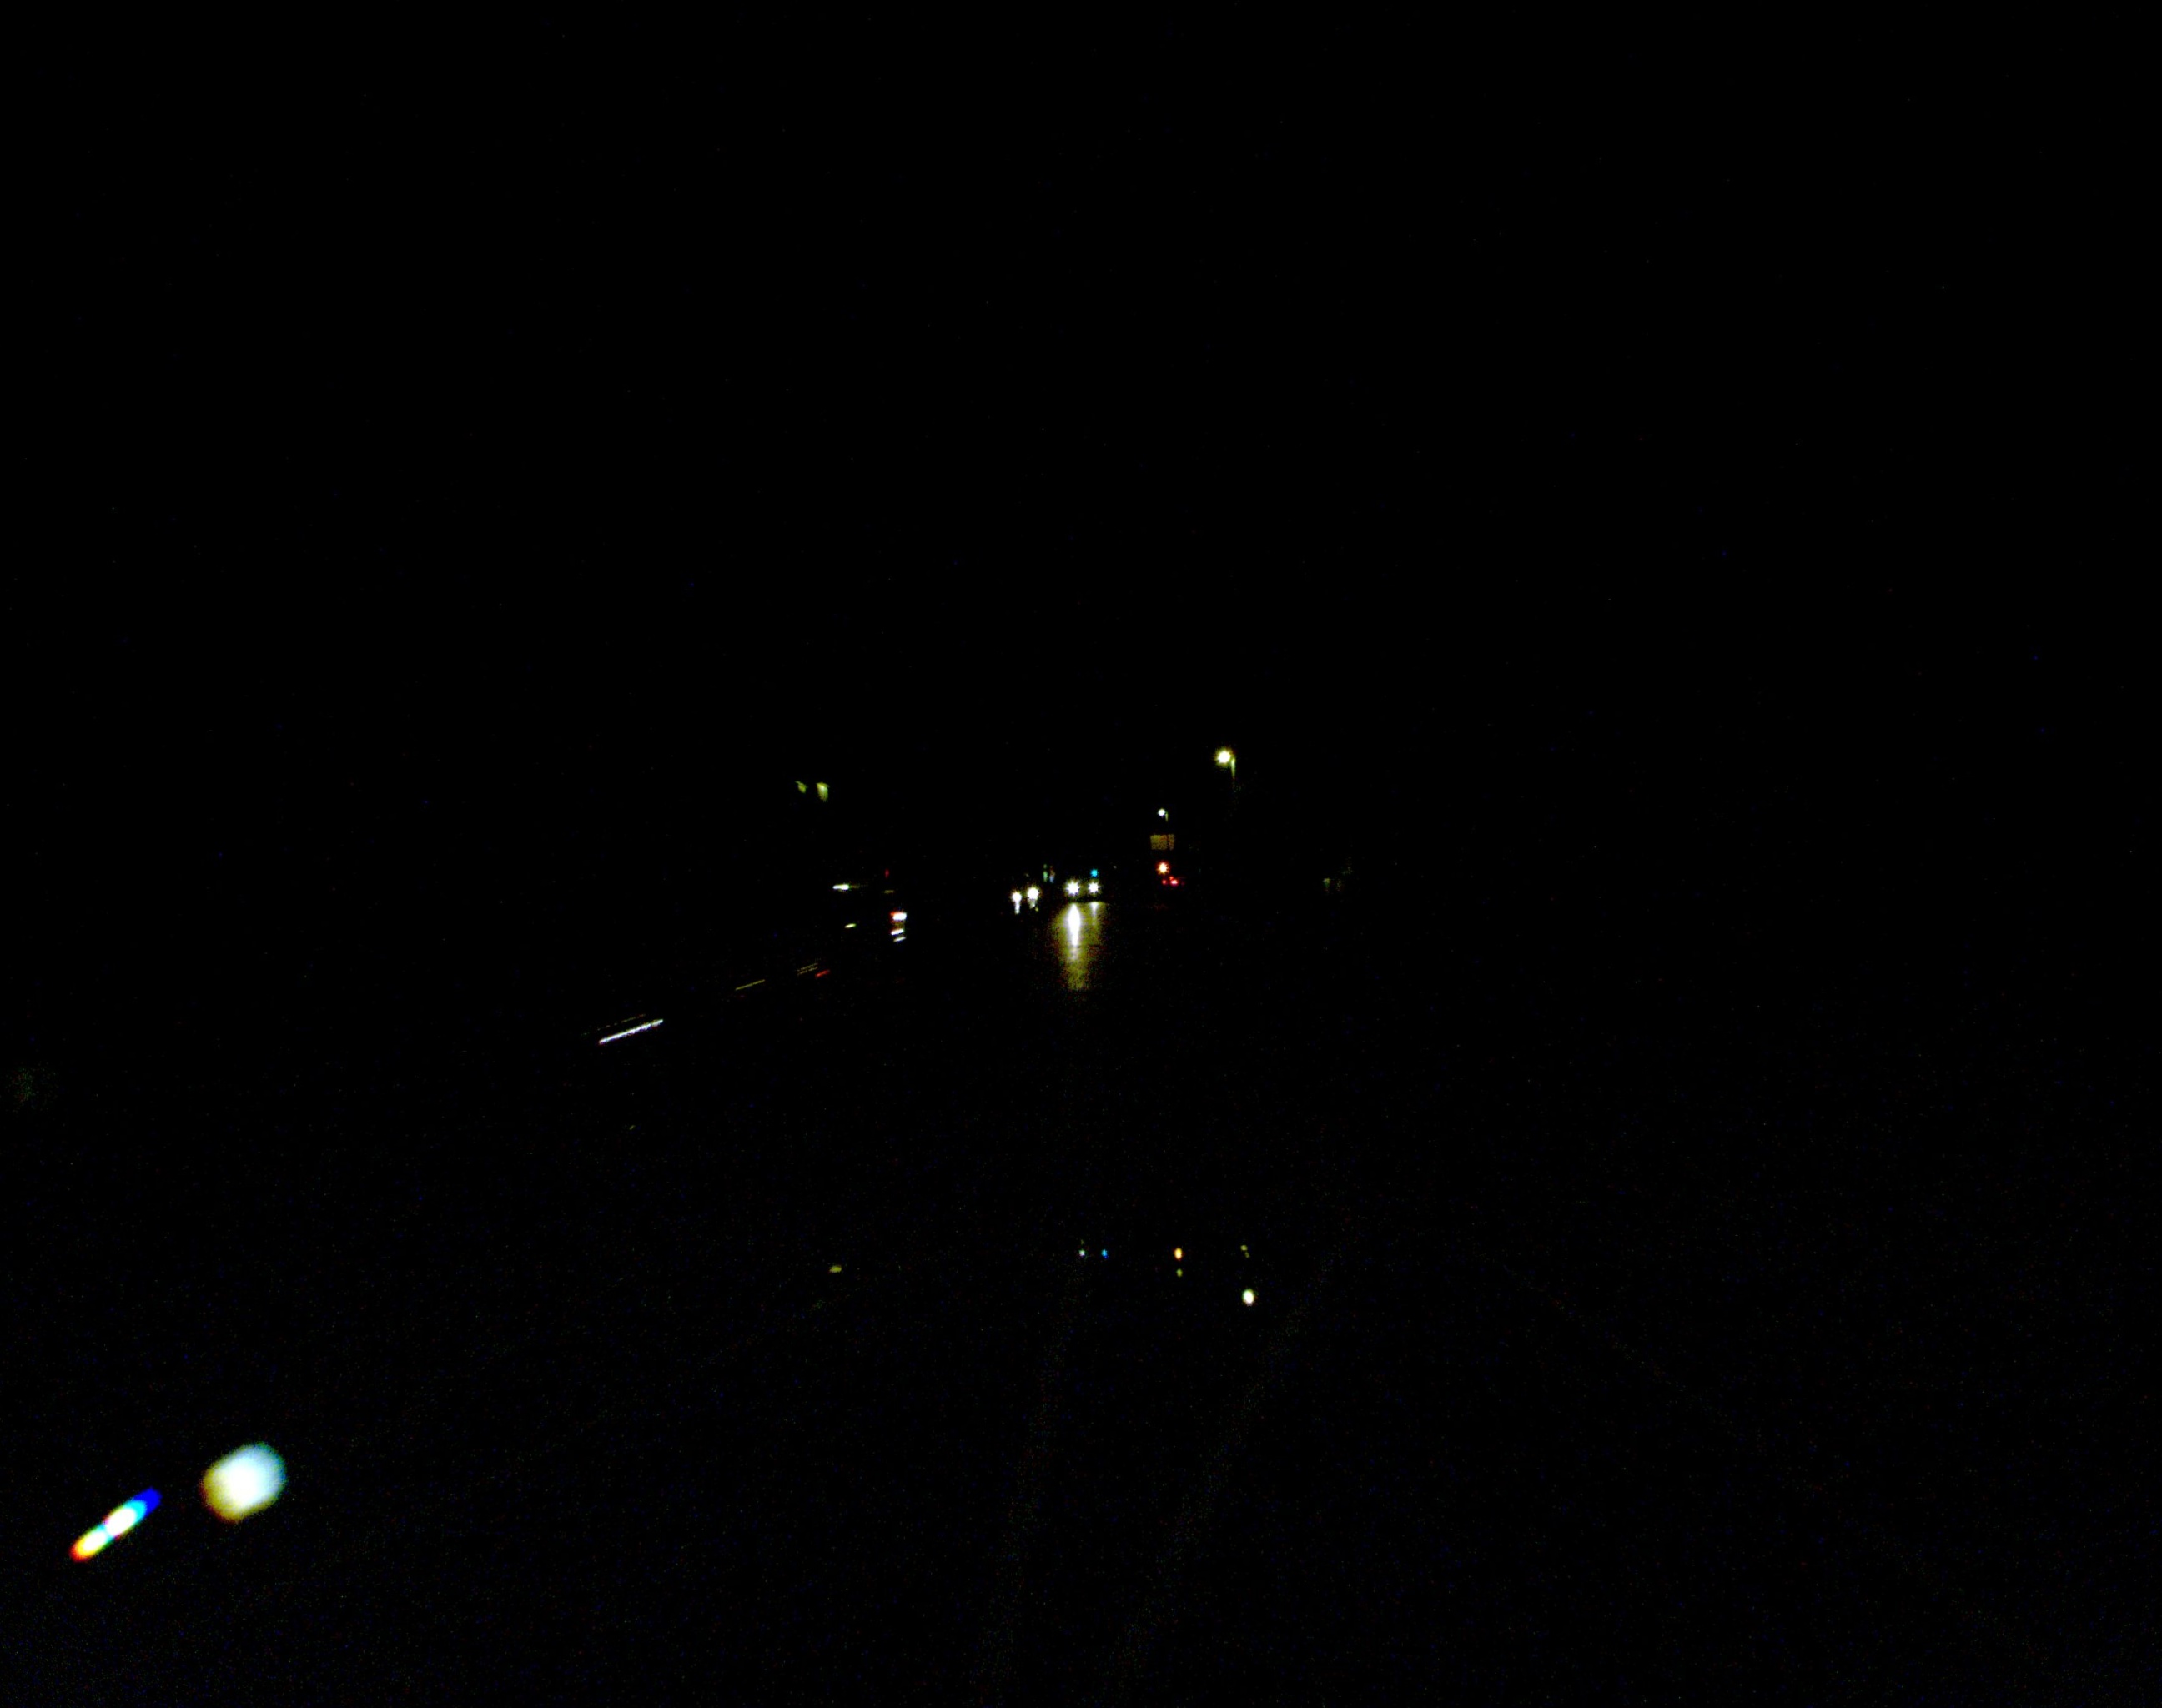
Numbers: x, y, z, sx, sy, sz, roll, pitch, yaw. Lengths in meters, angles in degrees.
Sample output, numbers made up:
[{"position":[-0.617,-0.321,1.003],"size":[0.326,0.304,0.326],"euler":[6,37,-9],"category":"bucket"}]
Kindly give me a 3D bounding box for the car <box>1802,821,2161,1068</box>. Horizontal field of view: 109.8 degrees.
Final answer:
[{"position":[8.841,0.542,5.927],"size":[4.427,1.604,2.065],"euler":[-1,1,2],"category":"car"}]

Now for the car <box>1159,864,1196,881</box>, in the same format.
[{"position":[9.935,1.866,77.864],"size":[1.727,1.421,4.298],"euler":[-3,0,38],"category":"car"}]

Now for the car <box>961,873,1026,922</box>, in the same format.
[{"position":[-2.742,1.367,24.577],"size":[1.613,1.452,3.718],"euler":[1,-2,1],"category":"car"}]

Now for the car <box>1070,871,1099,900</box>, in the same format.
[{"position":[0.162,1.664,41.023],"size":[1.513,1.492,3.050],"euler":[-1,-2,-1],"category":"car"}]

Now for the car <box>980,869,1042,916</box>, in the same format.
[{"position":[-2.587,1.405,29.085],"size":[1.759,1.584,4.729],"euler":[-2,-1,2],"category":"car"}]

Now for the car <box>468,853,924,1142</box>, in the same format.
[{"position":[-2.917,0.929,7.155],"size":[1.723,1.750,4.759],"euler":[-2,-1,1],"category":"car"}]

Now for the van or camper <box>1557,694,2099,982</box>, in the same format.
[{"position":[9.339,-0.286,9.759],"size":[5.416,3.094,2.130],"euler":[-2,3,-9],"category":"van or camper"}]

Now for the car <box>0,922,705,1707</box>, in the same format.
[{"position":[-2.872,1.120,1.810],"size":[1.748,1.462,4.256],"euler":[-3,0,0],"category":"car"}]
